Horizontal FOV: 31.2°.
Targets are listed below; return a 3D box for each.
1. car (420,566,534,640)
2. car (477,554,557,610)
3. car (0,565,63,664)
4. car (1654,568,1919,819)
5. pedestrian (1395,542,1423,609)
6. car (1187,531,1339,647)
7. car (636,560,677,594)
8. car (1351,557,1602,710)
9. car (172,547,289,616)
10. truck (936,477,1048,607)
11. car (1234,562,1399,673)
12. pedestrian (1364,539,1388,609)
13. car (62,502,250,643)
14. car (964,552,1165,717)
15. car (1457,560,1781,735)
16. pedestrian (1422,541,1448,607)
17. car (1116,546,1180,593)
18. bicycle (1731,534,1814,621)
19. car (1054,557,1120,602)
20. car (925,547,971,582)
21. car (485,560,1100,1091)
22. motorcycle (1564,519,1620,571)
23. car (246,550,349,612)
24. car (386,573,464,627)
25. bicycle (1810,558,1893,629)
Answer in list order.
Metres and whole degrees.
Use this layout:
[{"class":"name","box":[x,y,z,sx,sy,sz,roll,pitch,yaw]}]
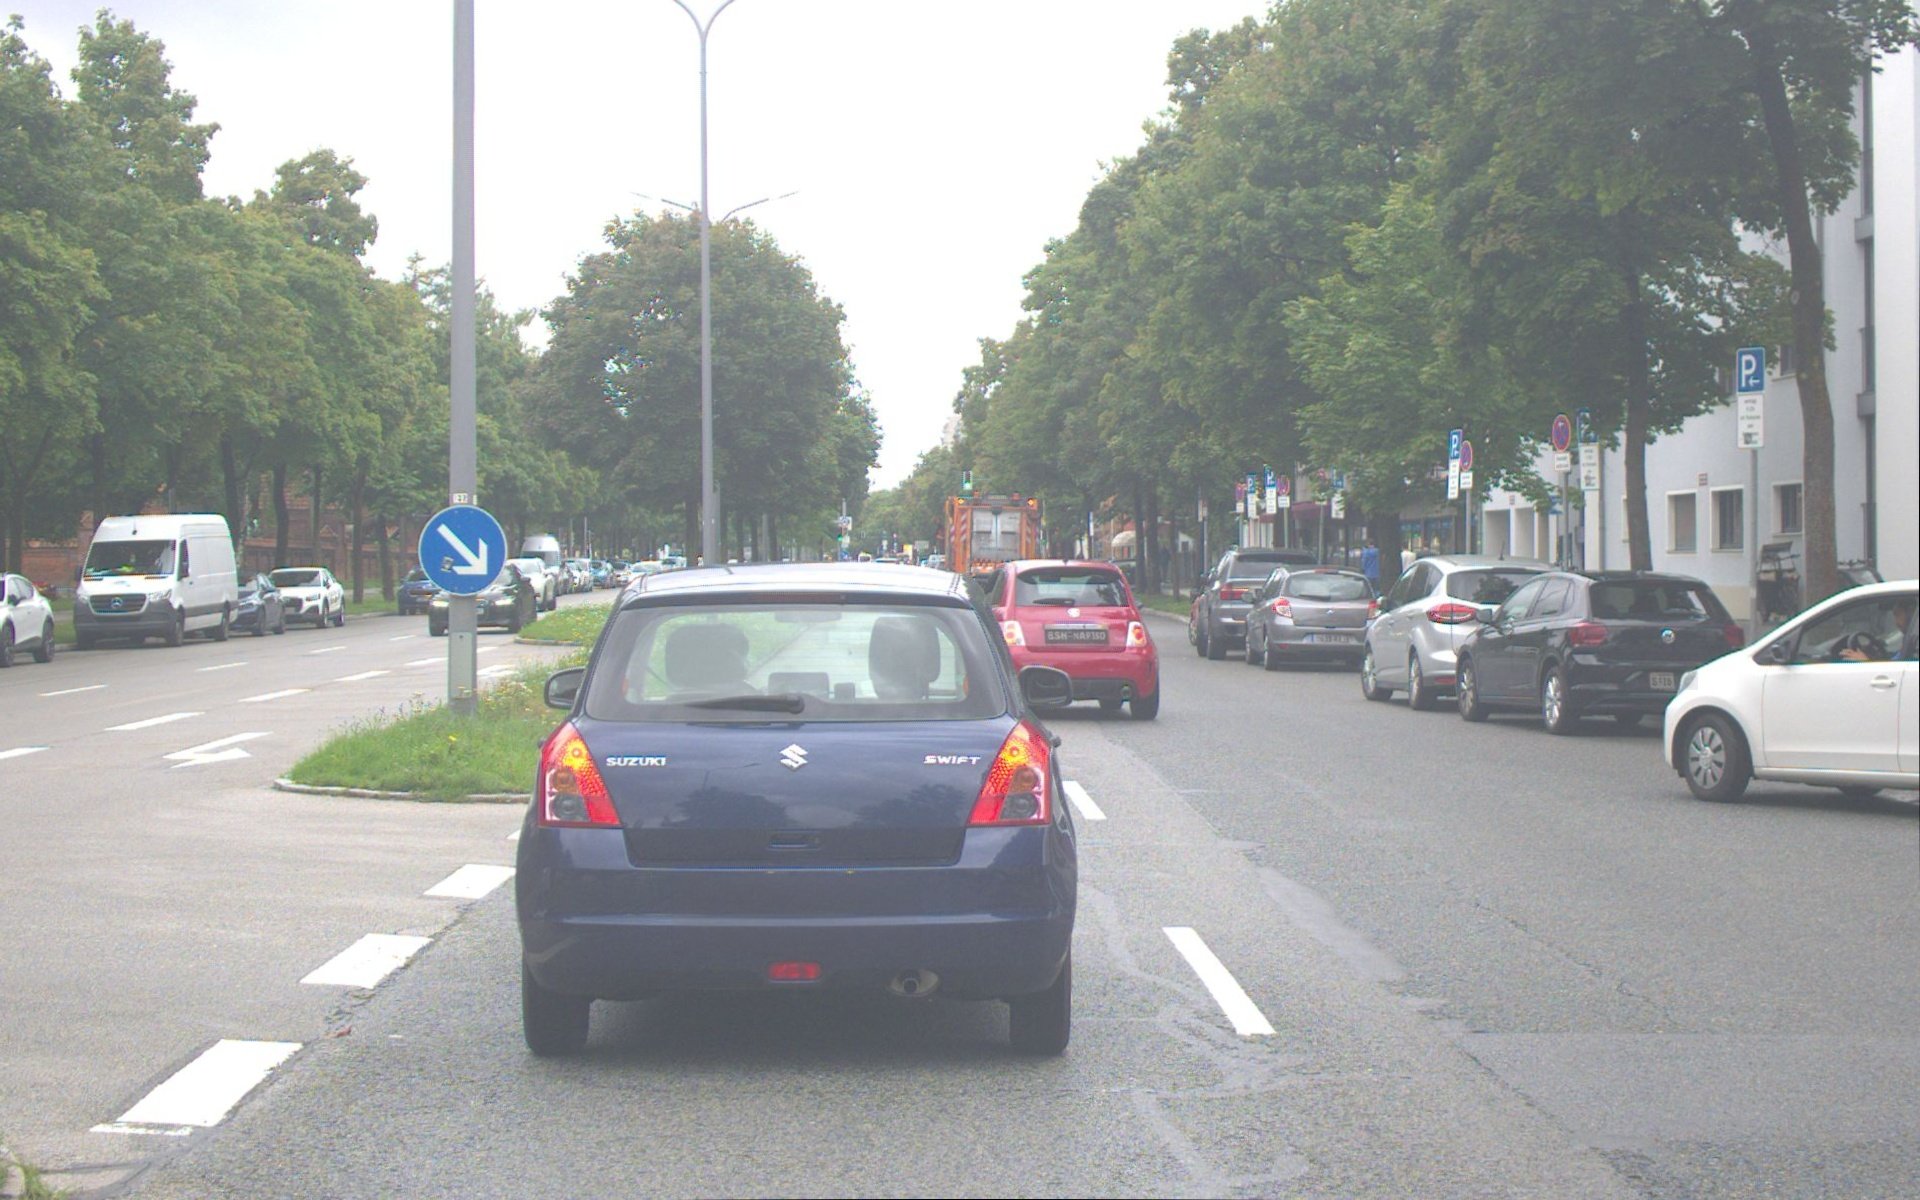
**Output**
[{"class":"car","box":[-9.970,0.033,71.296,1.815,1.443,4.783,-1,1,-2]},{"class":"car","box":[-13.474,-0.577,104.767,1.851,1.594,4.403,-2,1,-1]},{"class":"car","box":[-15.762,0.261,54.942,1.821,1.522,4.299,-2,0,-2]},{"class":"car","box":[6.187,0.553,21.267,1.687,1.485,3.434,-1,1,-38]},{"class":"pedestrian","box":[11.057,-0.609,84.666,0.549,1.624,0.641,-2,1,-1]},{"class":"car","box":[4.726,-0.200,54.193,1.829,1.740,4.509,0,1,-2]},{"class":"car","box":[-14.358,-1.098,162.892,1.761,1.532,4.315,-3,1,-3]},{"class":"car","box":[5.416,0.307,36.598,1.829,1.517,4.524,0,1,-2]},{"class":"car","box":[-16.232,-0.396,76.670,1.857,1.485,4.252,0,0,-2]},{"class":"truck","box":[0.842,-1.679,100.190,3.041,3.545,13.675,0,1,0]},{"class":"car","box":[5.061,0.220,49.235,1.829,1.517,3.771,0,1,-2]},{"class":"pedestrian","box":[10.252,-0.640,84.736,0.499,1.727,0.733,0,1,-1]},{"class":"car","box":[-16.063,-0.595,69.104,2.139,2.634,7.106,-2,1,-1]},{"class":"car","box":[0.950,0.284,33.442,1.718,1.495,4.301,0,1,-1]},{"class":"car","box":[5.873,0.382,31.079,1.829,1.468,3.889,0,1,-6]},{"class":"pedestrian","box":[11.743,-0.648,84.965,0.541,1.635,0.724,0,1,-1]},{"class":"car","box":[6.654,-1.086,122.040,1.993,1.637,4.333,0,1,-1]},{"class":"bicycle","box":[13.742,-0.389,58.216,0.702,1.402,2.593,-2,1,-1]},{"class":"car","box":[4.208,-0.697,114.699,1.993,1.447,4.000,0,1,-1]},{"class":"car","box":[-0.537,-1.536,148.555,1.829,1.517,3.771,0,1,-2]},{"class":"car","box":[-0.489,0.621,11.801,1.753,1.499,4.000,0,1,0]},{"class":"motorcycle","box":[13.496,-1.168,73.461,0.761,1.082,2.199,-1,1,-1]},{"class":"car","box":[-16.223,-0.444,84.340,1.857,1.485,4.142,0,0,-2]},{"class":"car","box":[-16.674,-0.023,107.283,1.886,1.532,4.315,-3,1,-3]},{"class":"bicycle","box":[13.937,-0.108,53.791,0.621,1.043,2.195,-4,1,-1]}]
